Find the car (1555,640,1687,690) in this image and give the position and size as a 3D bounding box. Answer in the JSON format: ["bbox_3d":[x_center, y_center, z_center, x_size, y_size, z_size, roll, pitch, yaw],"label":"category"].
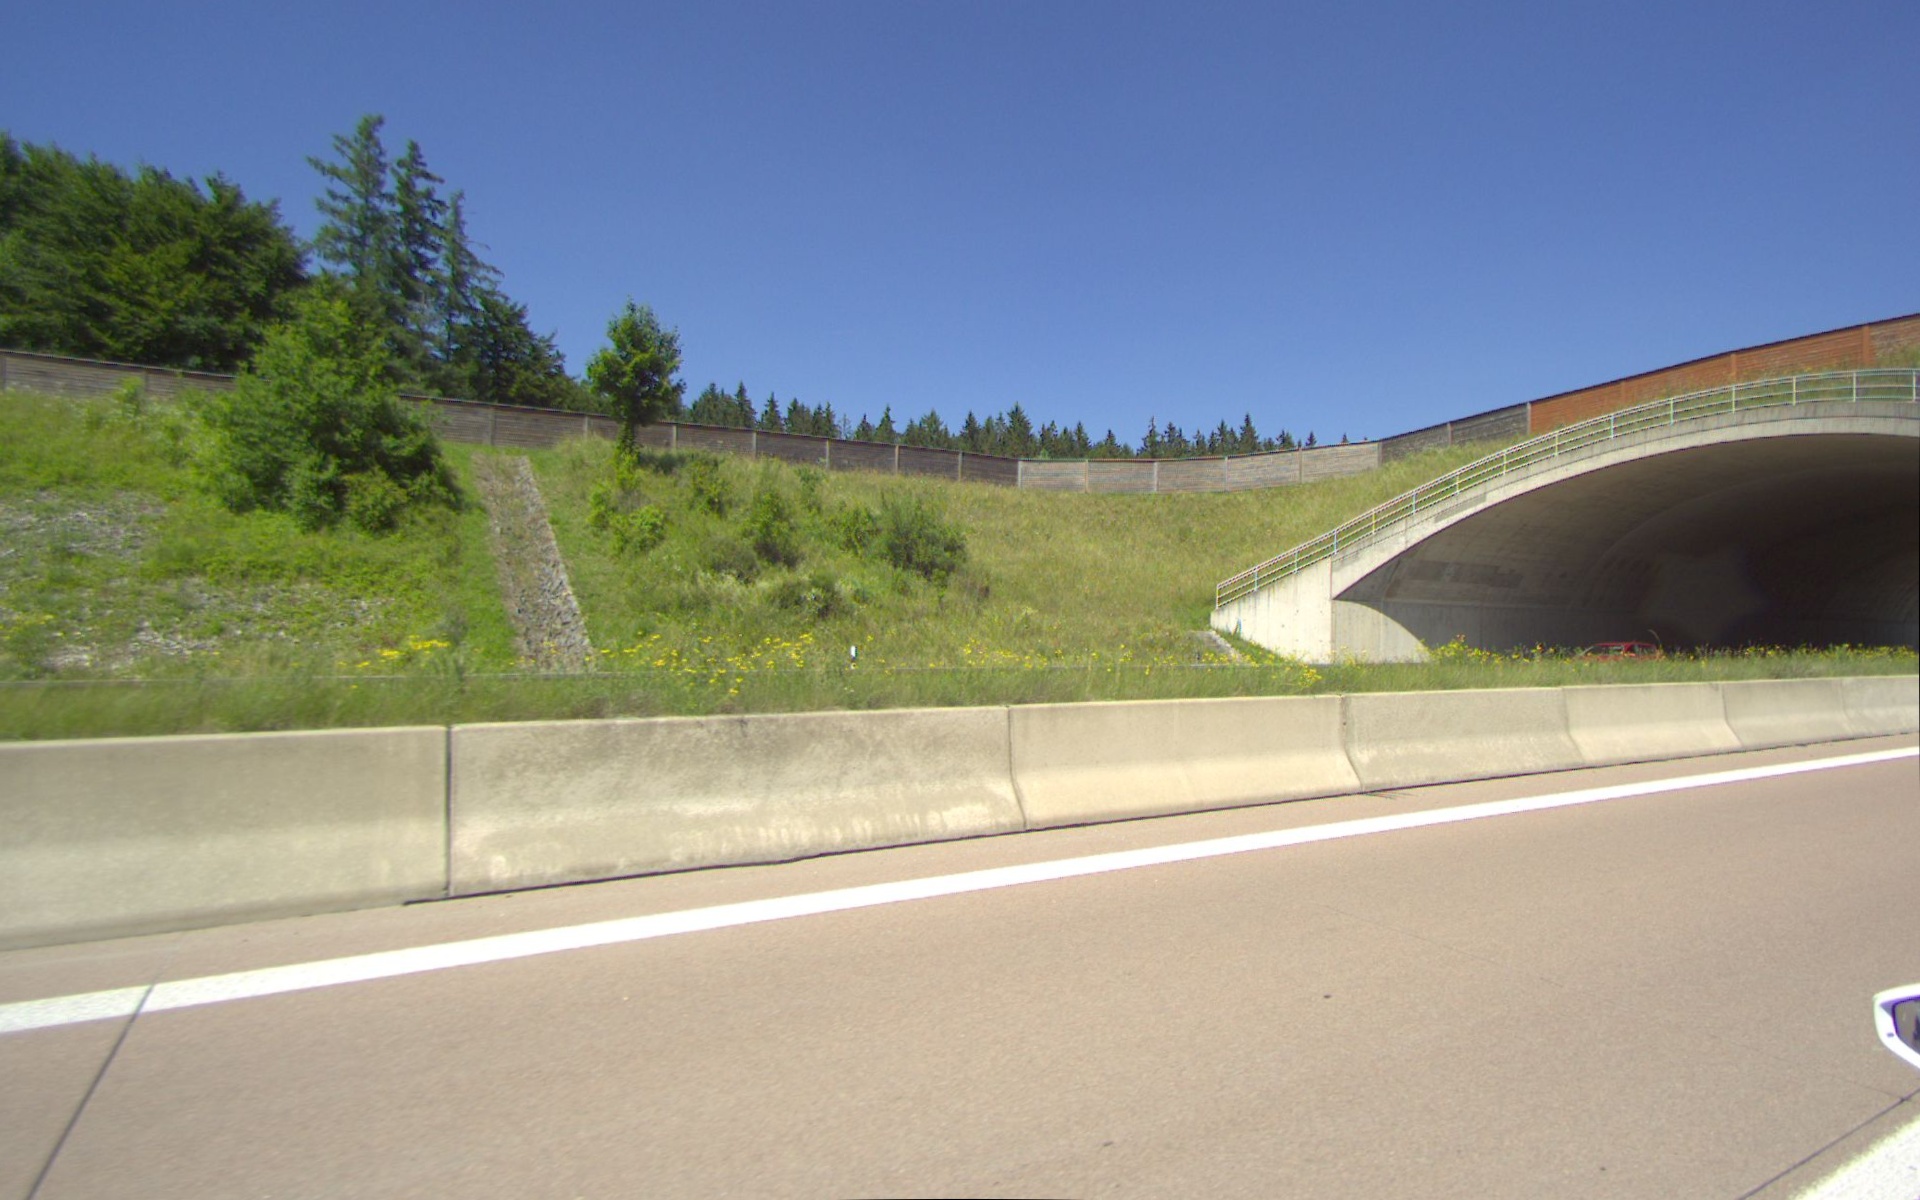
[{"bbox_3d":[23.335,2.240,35.411,4.919,1.615,1.882,2,-1,-30],"label":"car"}]
